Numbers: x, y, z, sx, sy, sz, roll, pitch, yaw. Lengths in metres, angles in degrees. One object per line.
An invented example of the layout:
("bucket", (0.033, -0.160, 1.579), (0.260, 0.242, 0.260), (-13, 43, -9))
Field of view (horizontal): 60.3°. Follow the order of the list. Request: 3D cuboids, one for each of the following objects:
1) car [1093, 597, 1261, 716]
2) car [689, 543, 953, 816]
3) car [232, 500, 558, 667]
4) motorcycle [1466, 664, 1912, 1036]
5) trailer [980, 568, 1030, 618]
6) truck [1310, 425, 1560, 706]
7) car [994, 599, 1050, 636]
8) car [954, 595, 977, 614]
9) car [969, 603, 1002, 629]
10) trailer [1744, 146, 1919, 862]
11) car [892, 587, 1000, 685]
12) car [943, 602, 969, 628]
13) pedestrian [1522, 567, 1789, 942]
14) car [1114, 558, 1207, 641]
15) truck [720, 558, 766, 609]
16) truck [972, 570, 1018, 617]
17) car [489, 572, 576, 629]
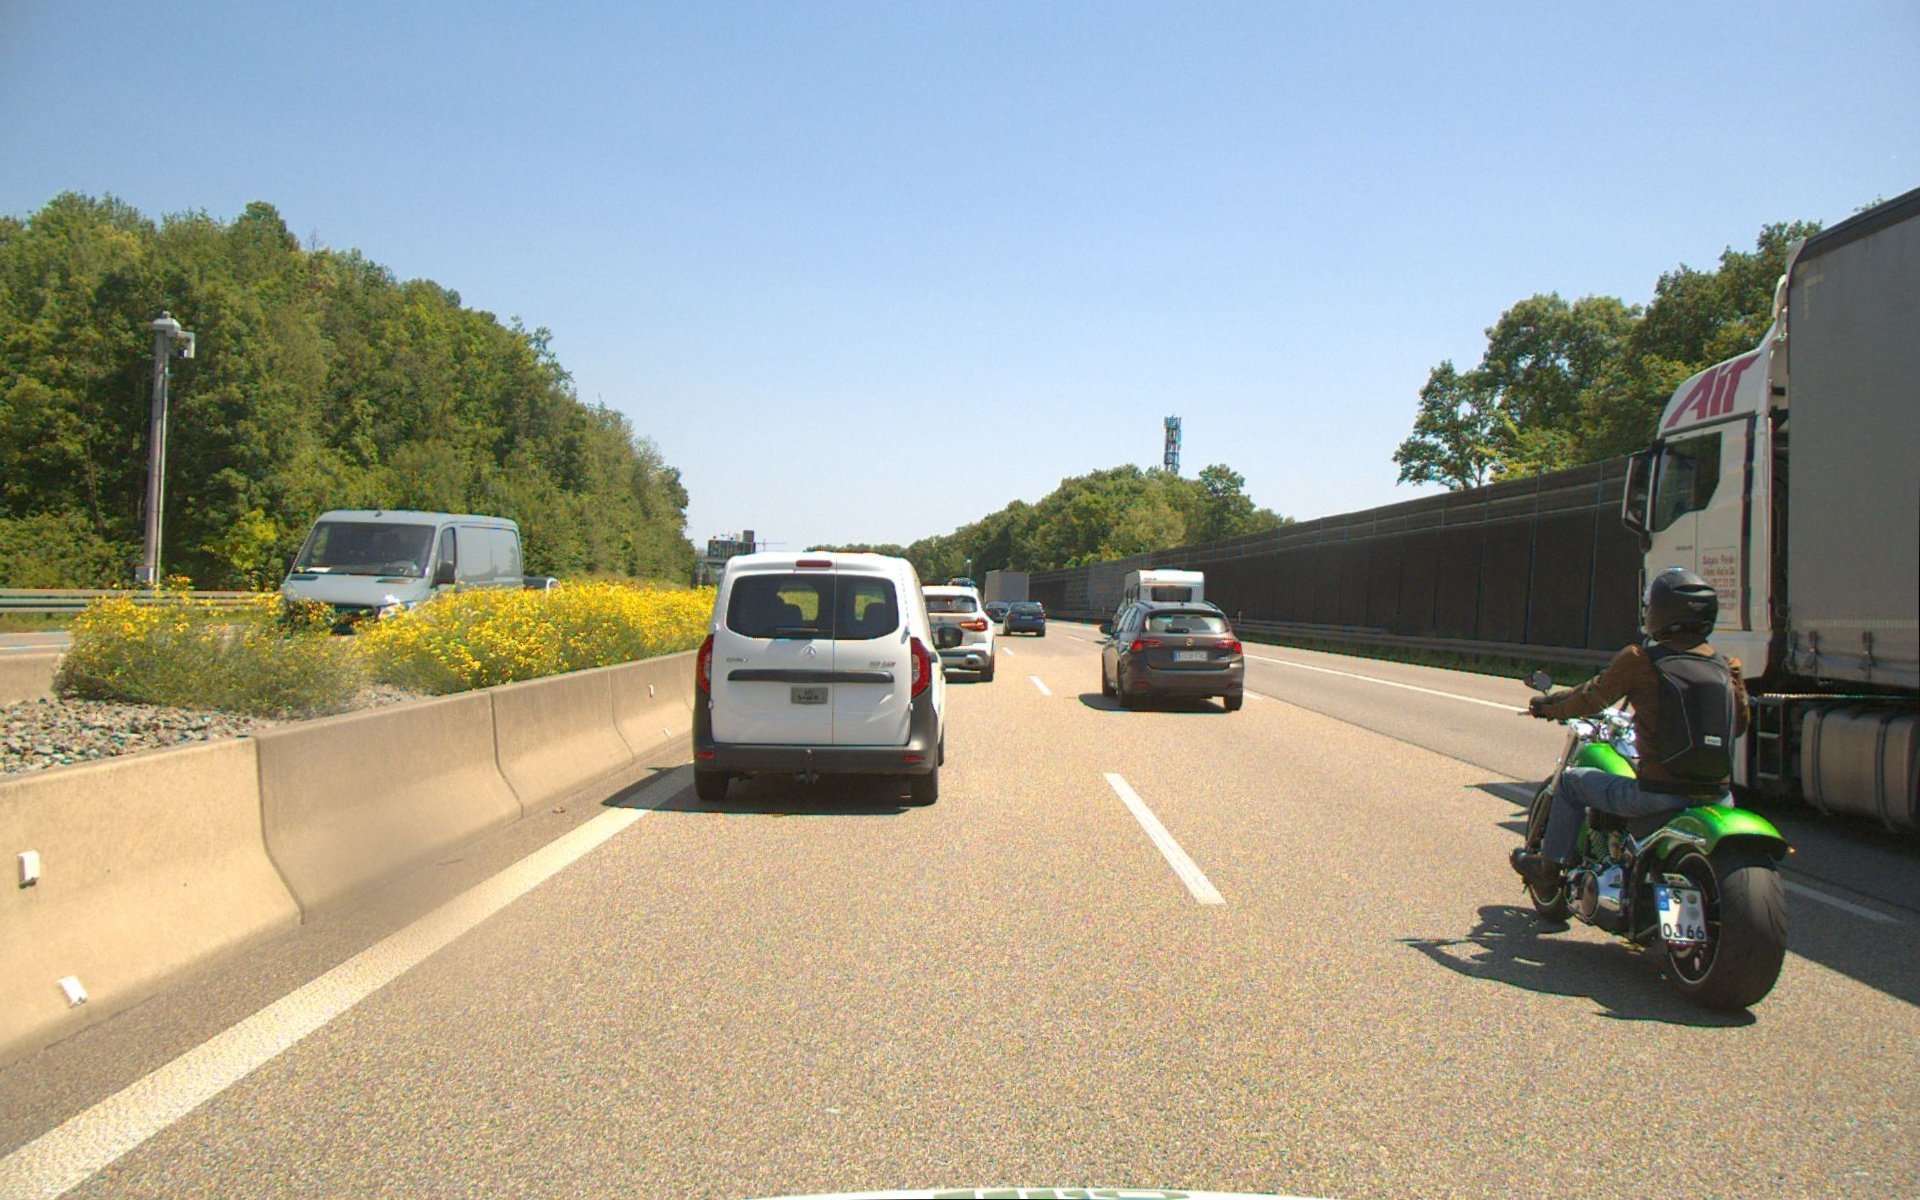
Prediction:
("car", (3.089, 0.756, 24.369), (1.801, 1.539, 4.401), (2, 0, -1))
("car", (-0.975, 0.551, 13.291), (1.766, 1.840, 3.999), (1, 0, -1))
("car", (-7.811, -0.189, 23.736), (2.274, 2.049, 6.185), (1, 0, 3))
("motorcycle", (2.940, 0.934, 7.014), (0.842, 1.202, 2.276), (2, 0, -1))
("trailer", (3.785, -0.569, 141.811), (3.022, 4.055, 10.311), (1, 0, -5))
("truck", (7.710, -0.500, 27.597), (2.545, 4.162, 5.552), (1, -1, 0))
("car", (2.495, 0.700, 67.852), (1.788, 1.449, 3.995), (1, 0, -5))
("car", (0.580, 0.517, 188.167), (1.957, 2.049, 3.991), (1, 0, -10))
("car", (1.505, 0.959, 99.396), (1.787, 1.449, 3.999), (1, 0, -1))
("trailer", (6.849, -0.579, 4.891), (2.545, 4.162, 13.590), (1, 0, 0))
("car", (-0.267, 0.617, 30.581), (1.833, 1.636, 3.878), (2, 0, -1))
("car", (-0.306, 1.215, 135.572), (1.788, 2.024, 3.995), (0, 0, -5))
("pedestrian", (2.945, 0.629, 7.062), (0.834, 1.504, 0.638), (2, 0, -1))
("car", (7.203, 0.004, 60.203), (2.429, 2.814, 6.217), (1, 0, -2))
("truck", (-17.727, -1.303, 135.380), (2.692, 3.924, 8.411), (1, 0, -1))
("truck", (3.092, -0.529, 149.240), (3.022, 4.055, 9.635), (1, 0, -5))
("car", (-14.447, 0.008, 56.130), (1.843, 1.796, 4.321), (2, 0, -1))
